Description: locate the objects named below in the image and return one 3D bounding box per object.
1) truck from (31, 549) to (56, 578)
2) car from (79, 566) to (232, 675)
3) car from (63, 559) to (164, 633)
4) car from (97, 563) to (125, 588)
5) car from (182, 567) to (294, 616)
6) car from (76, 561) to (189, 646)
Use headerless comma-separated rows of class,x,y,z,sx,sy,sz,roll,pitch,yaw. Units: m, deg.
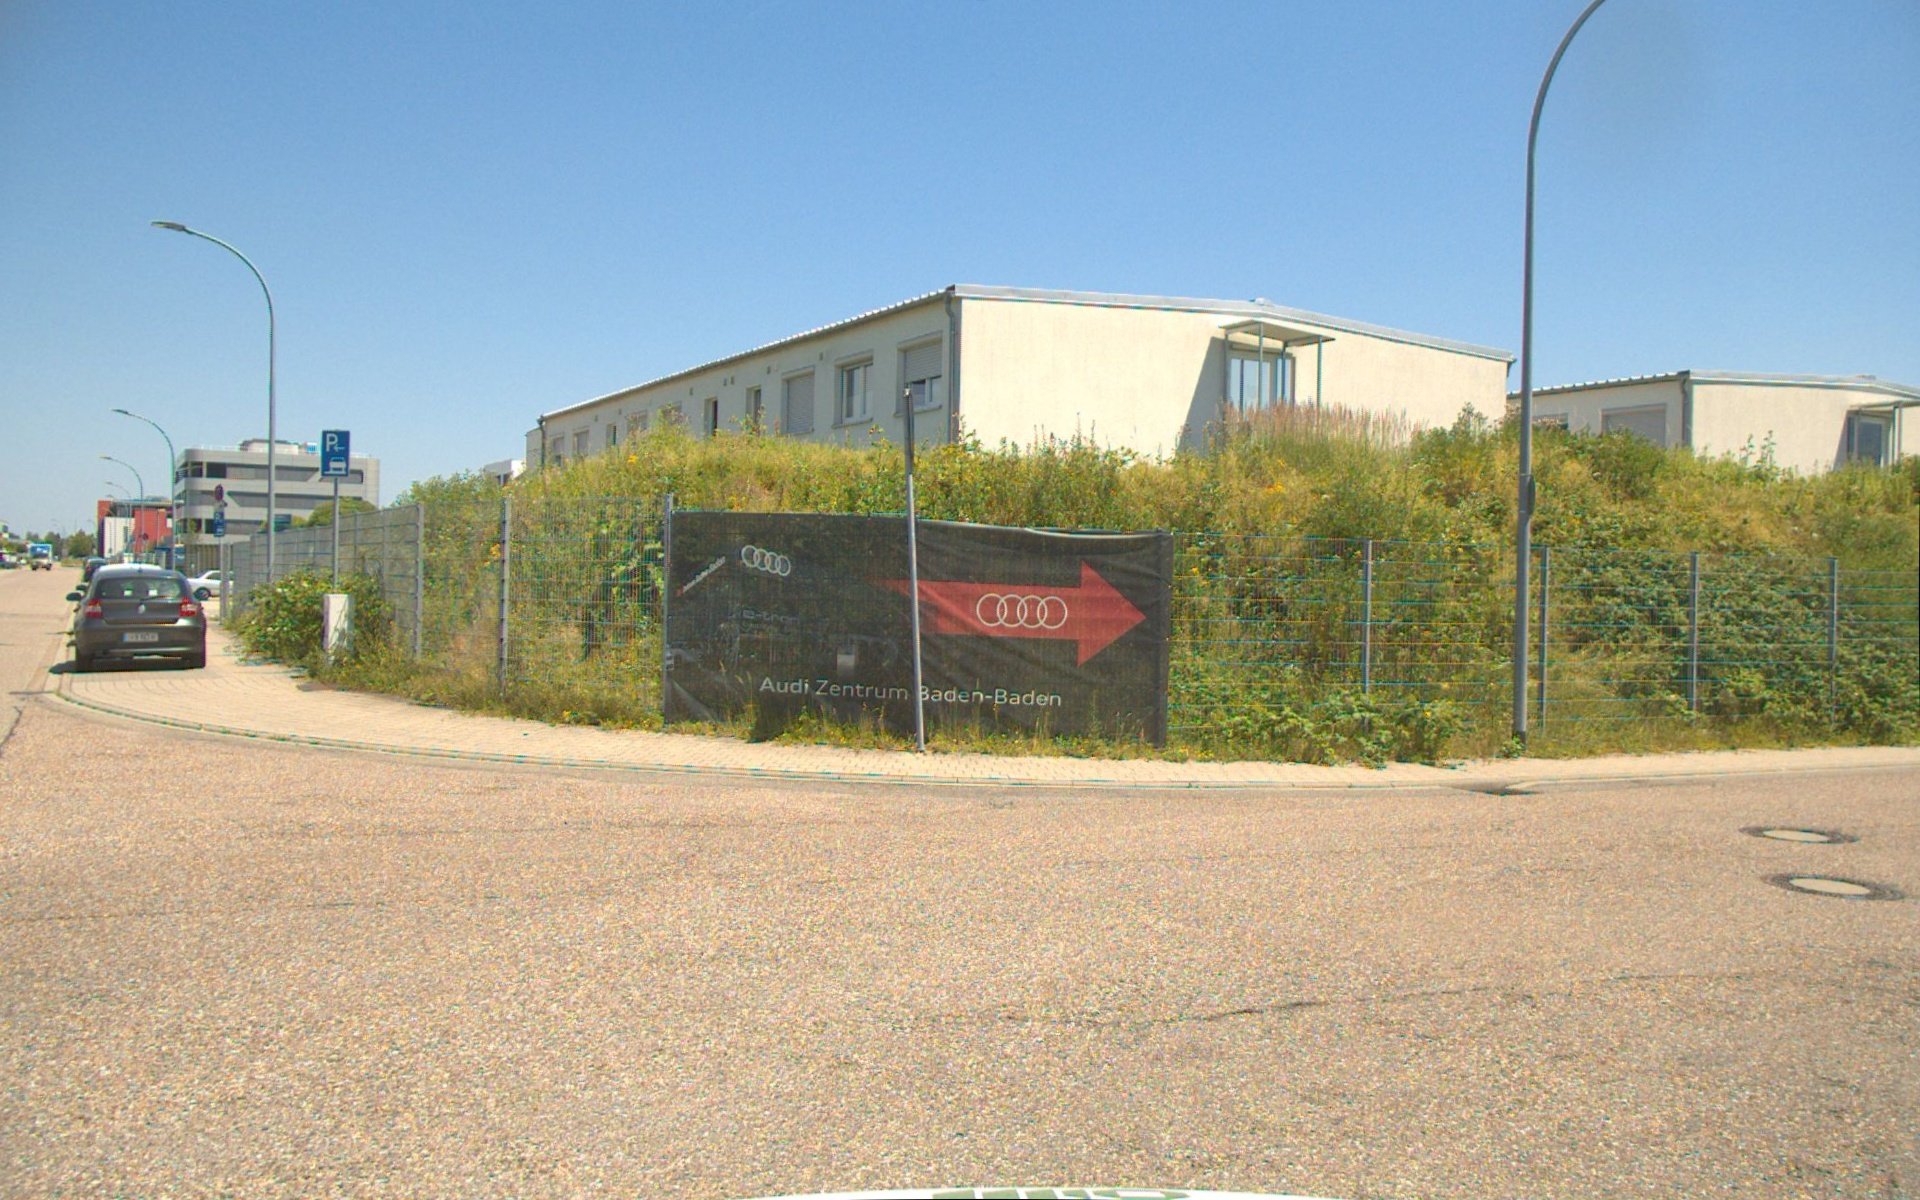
truck,-116.811,-4.745,210.748,2.572,3.606,10.395,-1,2,-30
car,-12.036,0.239,24.859,1.884,1.473,3.968,-1,2,-25
car,-19.332,-0.132,37.887,1.884,1.573,3.968,-1,2,-25
car,-62.732,-1.819,122.135,1.755,1.758,3.964,3,0,-28
car,-33.288,-0.394,76.294,4.566,2.049,2.586,3,0,-25
car,-16.462,0.010,33.044,1.884,1.573,3.968,-1,2,-25
